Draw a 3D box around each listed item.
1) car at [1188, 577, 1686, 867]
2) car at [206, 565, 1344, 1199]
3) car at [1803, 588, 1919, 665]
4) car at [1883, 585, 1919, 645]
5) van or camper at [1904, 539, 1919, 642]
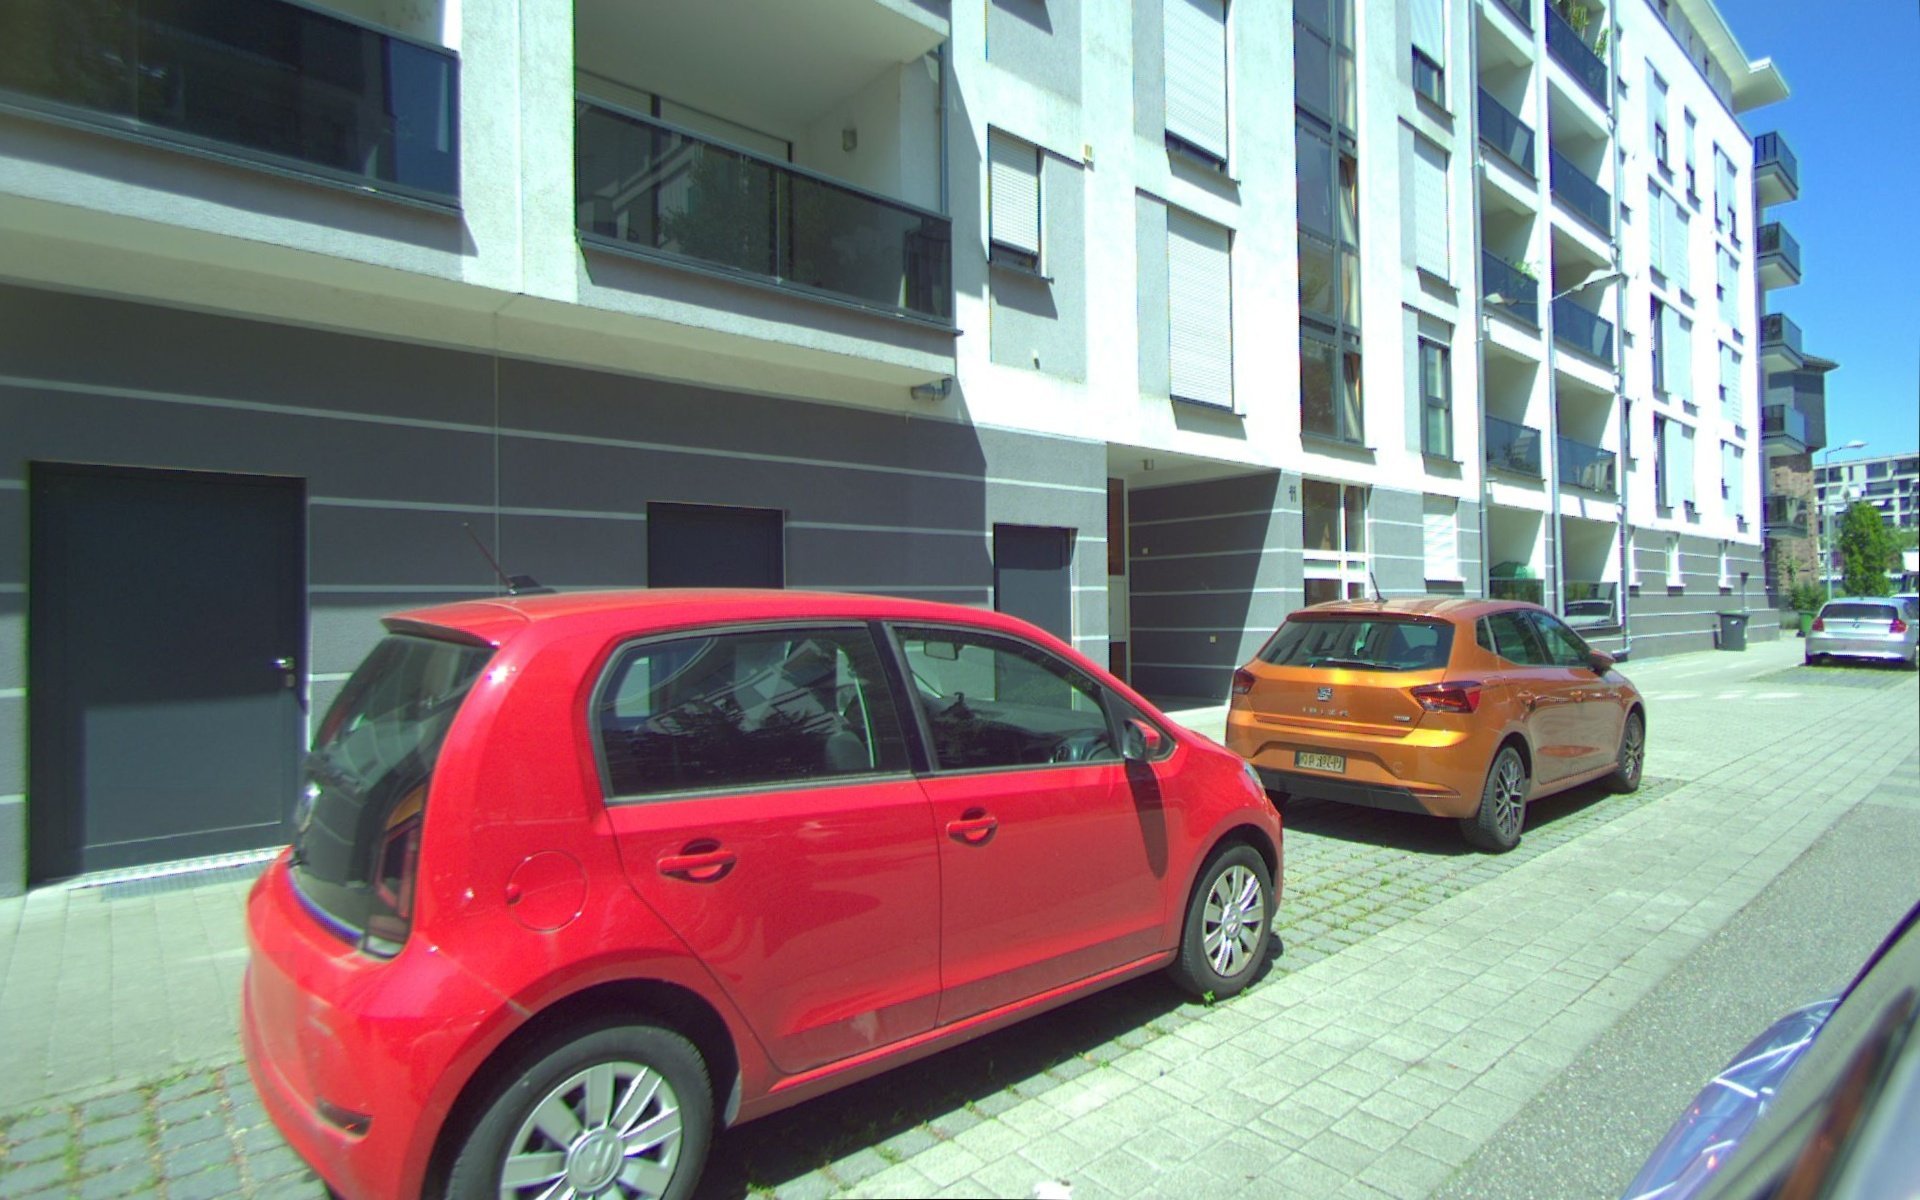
[{"bbox_3d":[3.616,0.606,7.295,4.184,1.505,1.740,-1,1,-41],"label":"car"},{"bbox_3d":[-0.320,0.666,3.528,3.611,1.504,1.598,0,1,-41],"label":"car"},{"bbox_3d":[19.220,0.489,21.054,4.348,1.434,1.849,-1,-1,-41],"label":"car"},{"bbox_3d":[25.914,0.360,26.852,4.190,1.523,1.809,-1,1,-43],"label":"car"},{"bbox_3d":[30.756,-0.362,30.699,7.694,2.943,2.441,-1,-1,-43],"label":"van or camper"}]
